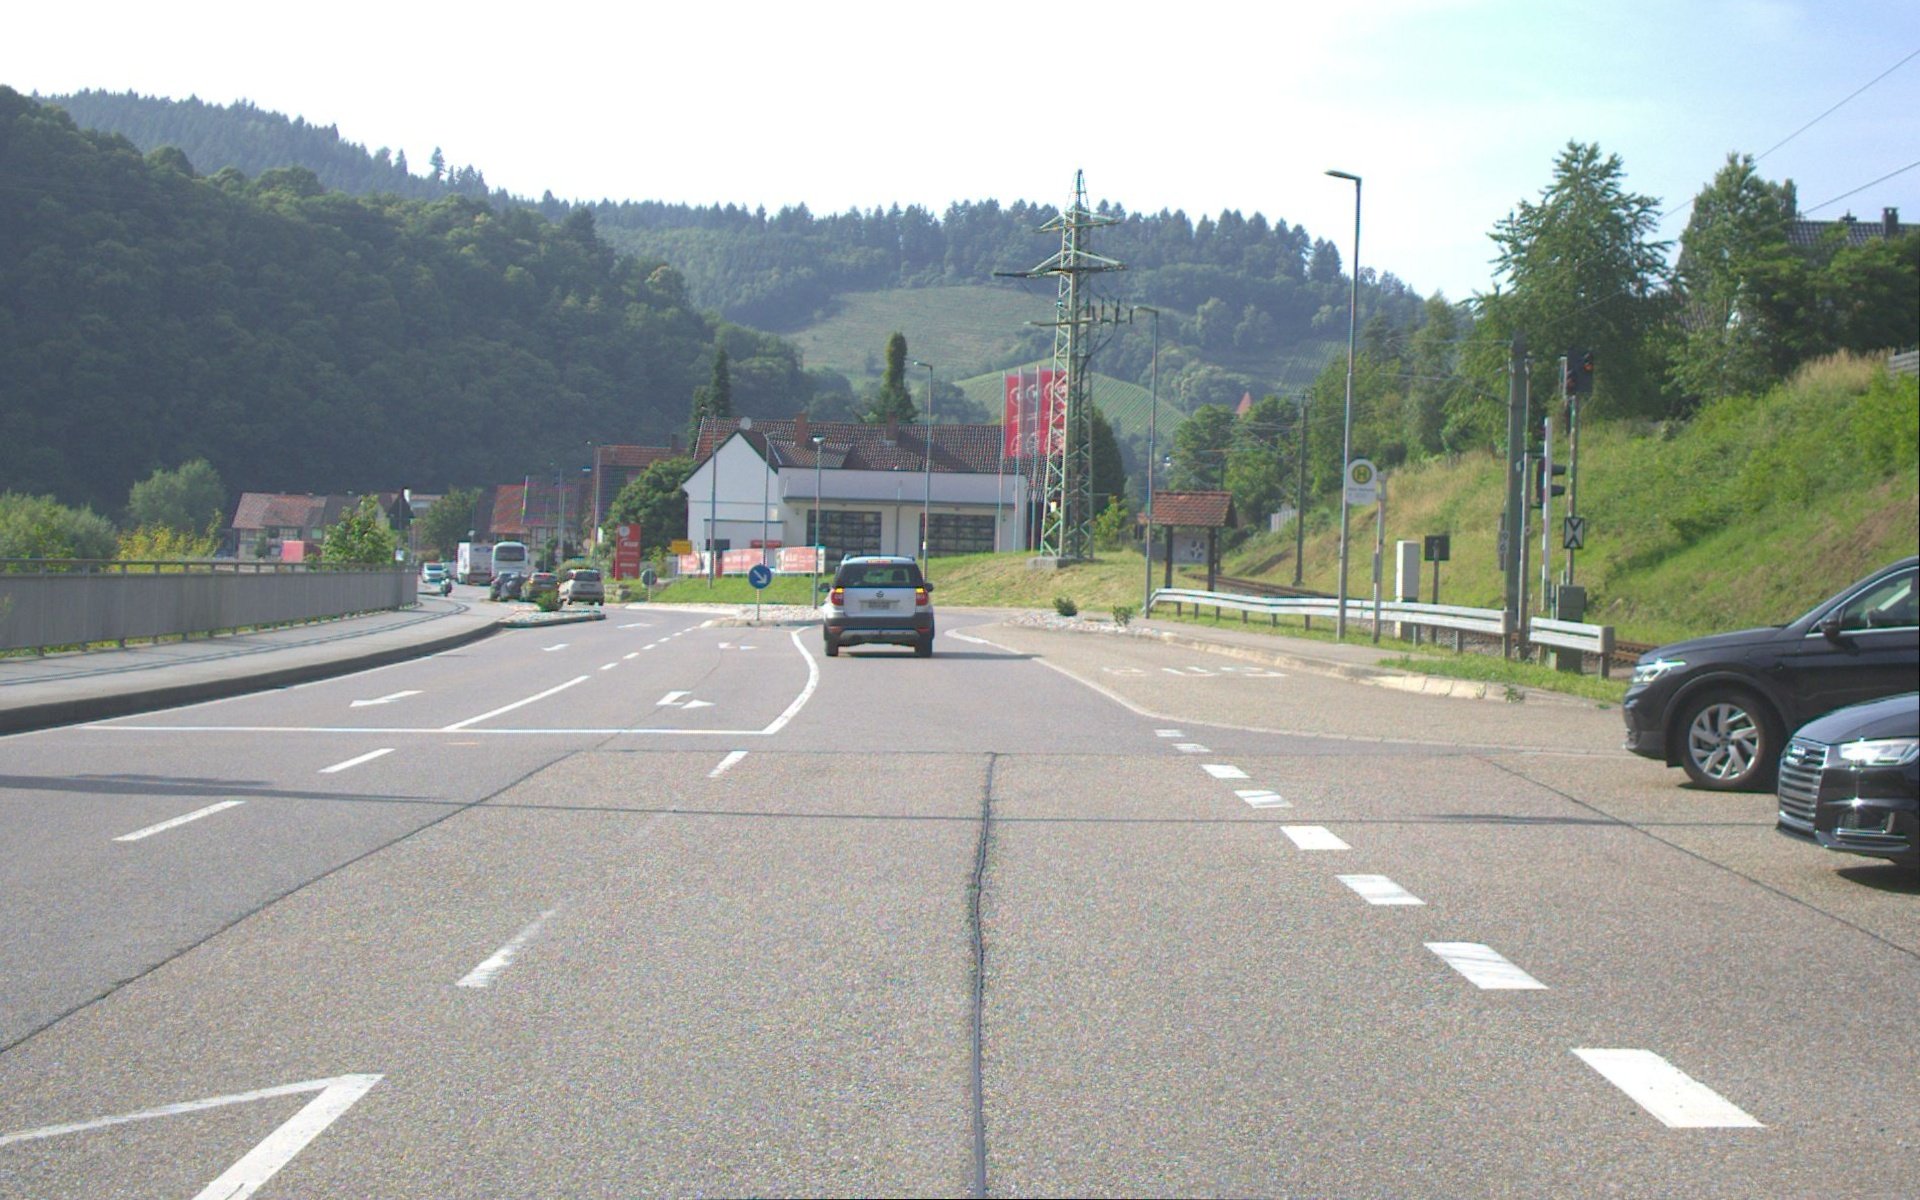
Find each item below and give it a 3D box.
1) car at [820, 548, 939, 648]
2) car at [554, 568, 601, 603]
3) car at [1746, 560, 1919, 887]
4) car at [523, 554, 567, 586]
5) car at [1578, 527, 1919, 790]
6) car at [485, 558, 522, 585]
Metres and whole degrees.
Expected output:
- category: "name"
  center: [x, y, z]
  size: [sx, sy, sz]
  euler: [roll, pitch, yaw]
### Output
- category: "car"
  center: [-1.338, -0.024, 57.535]
  size: [1.861, 1.539, 4.373]
  euler: [2, 0, -1]
- category: "car"
  center: [-17.115, -0.640, 153.795]
  size: [1.453, 1.430, 2.937]
  euler: [2, 1, -19]
- category: "car"
  center: [6.300, 0.553, 16.337]
  size: [4.726, 1.465, 1.842]
  euler: [0, 1, 2]
- category: "car"
  center: [-20.452, -1.496, 169.317]
  size: [1.453, 1.430, 2.937]
  euler: [2, 1, -20]
- category: "car"
  center: [6.654, 0.375, 22.642]
  size: [4.732, 1.654, 1.928]
  euler: [1, 1, 25]
- category: "car"
  center: [-26.219, -1.629, 197.258]
  size: [1.453, 1.430, 2.937]
  euler: [2, 1, -20]
